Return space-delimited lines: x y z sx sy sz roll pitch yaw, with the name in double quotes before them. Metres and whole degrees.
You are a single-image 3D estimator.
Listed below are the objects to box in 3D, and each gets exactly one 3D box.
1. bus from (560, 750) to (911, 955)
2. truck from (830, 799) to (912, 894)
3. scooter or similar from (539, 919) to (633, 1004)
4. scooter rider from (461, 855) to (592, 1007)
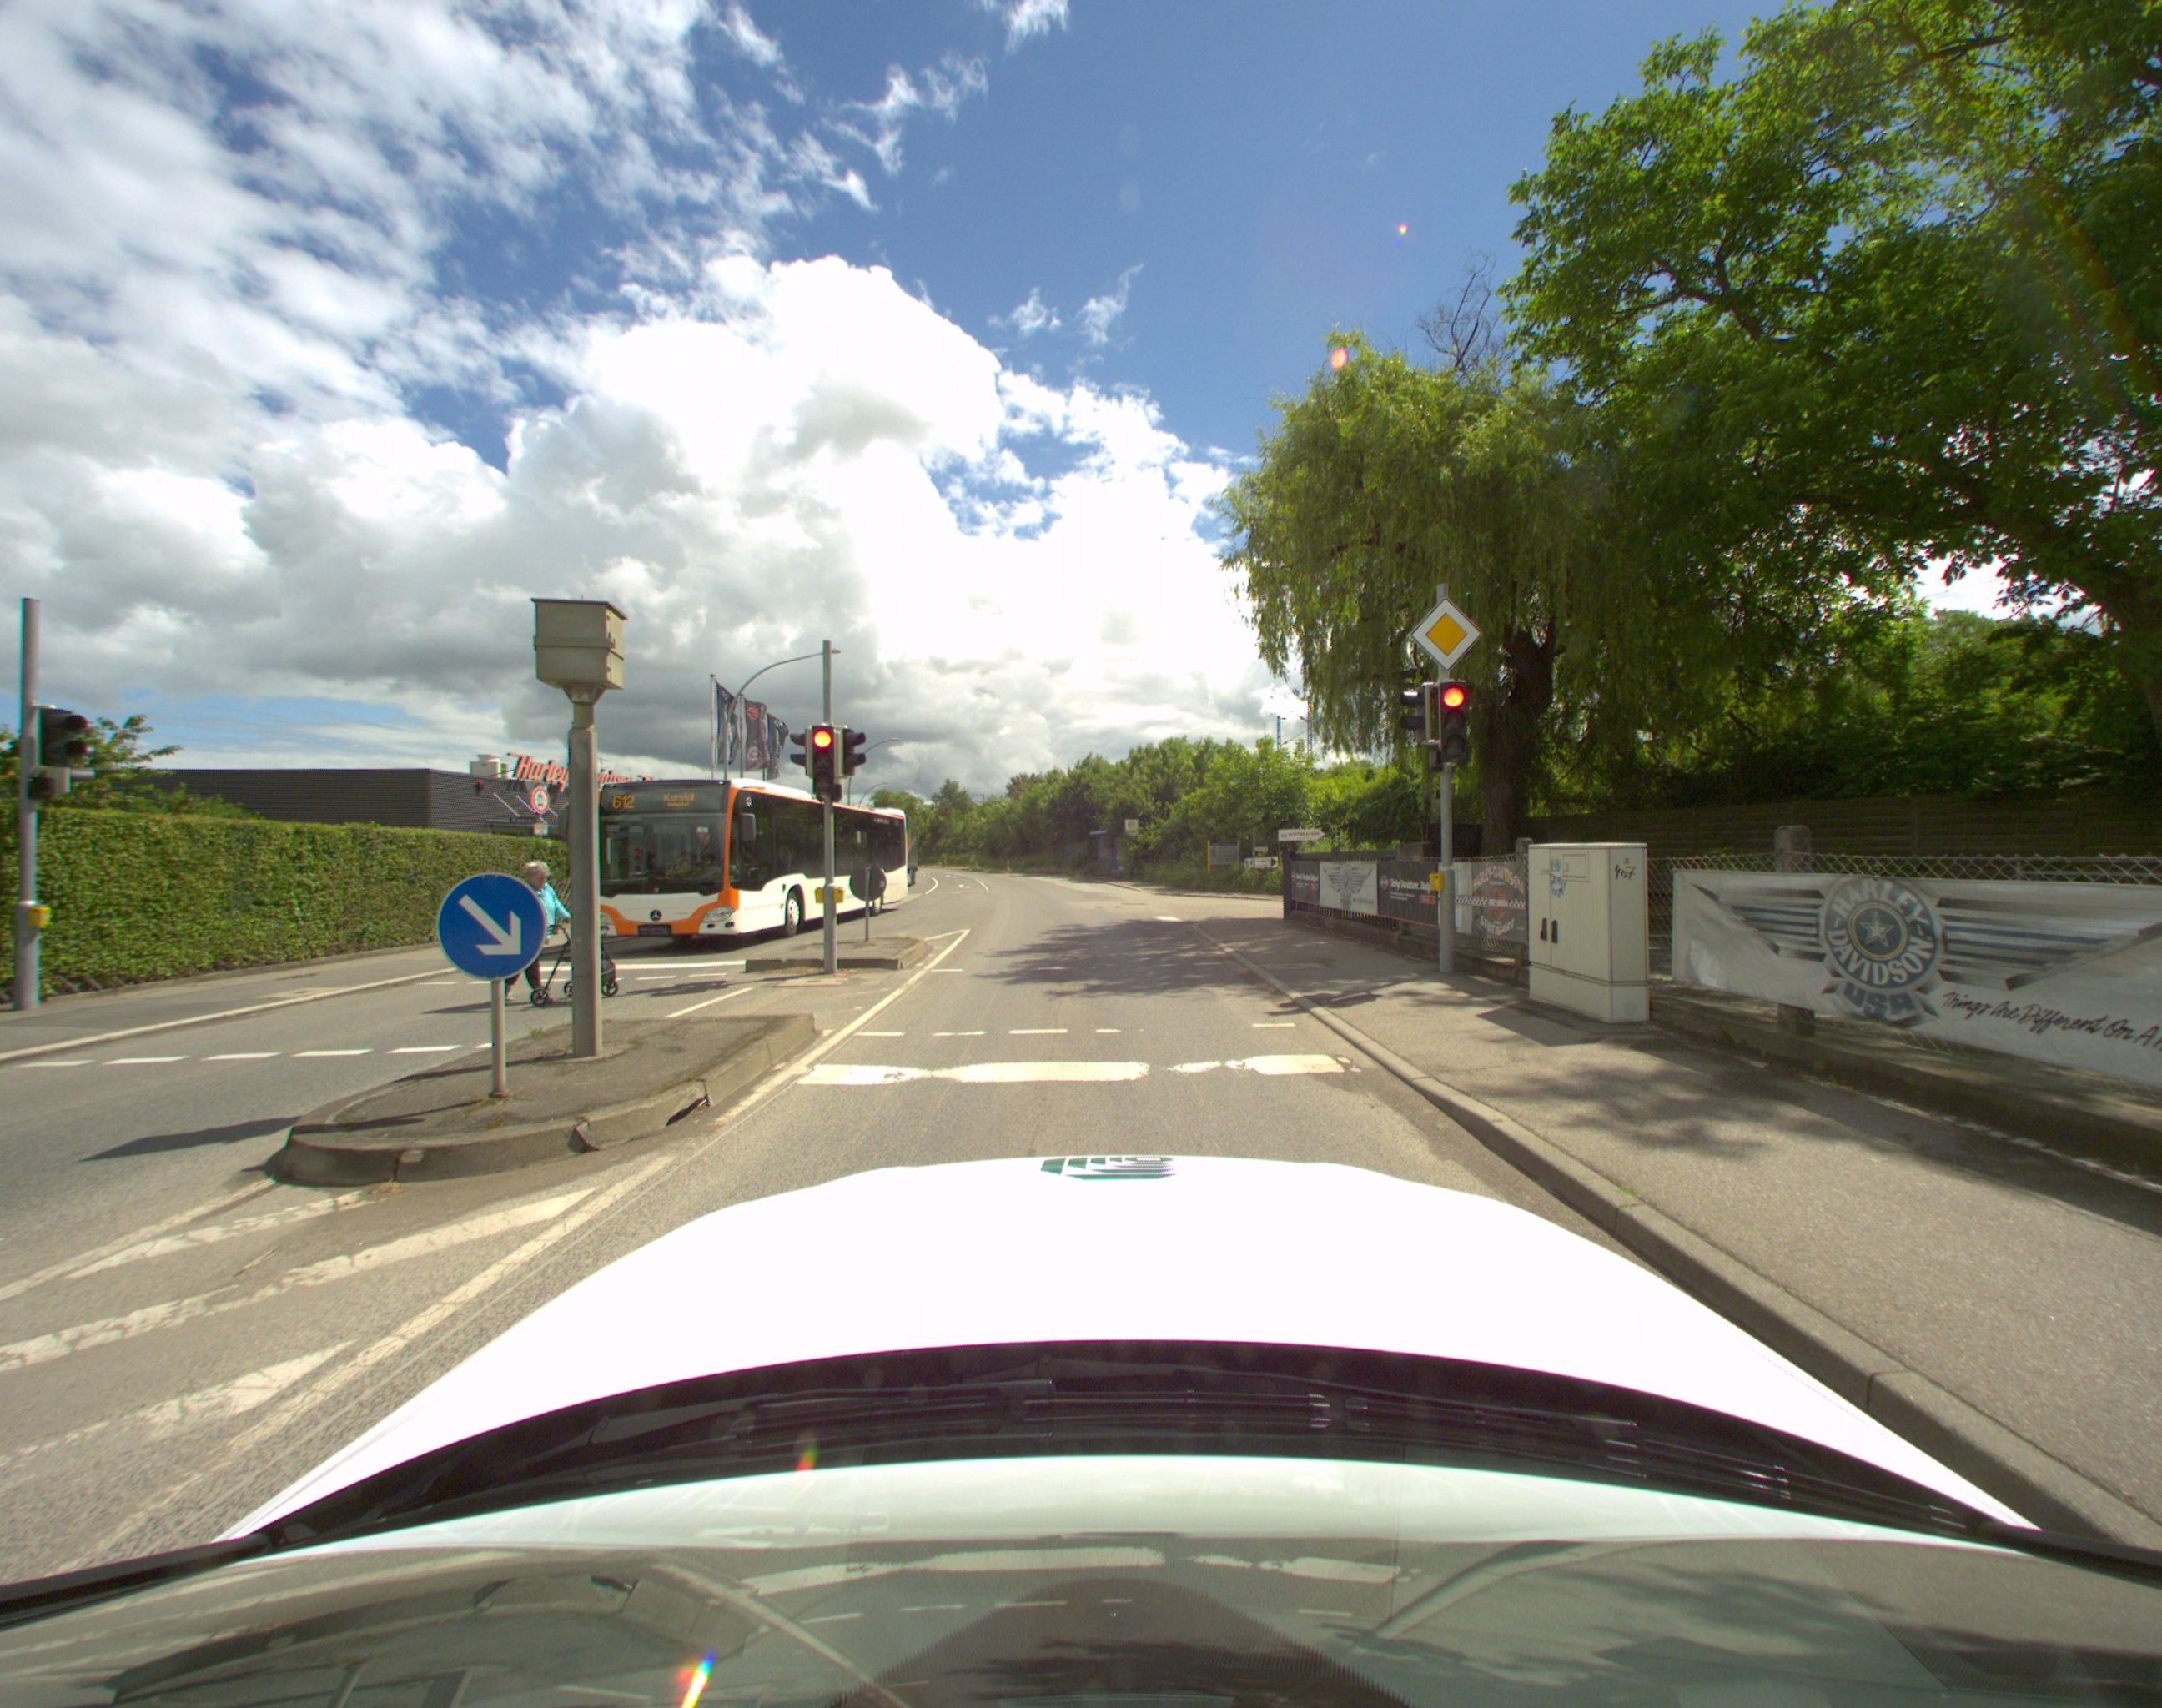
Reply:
"bus" -6.926 0.007 19.374 2.767 3.266 12.127 -2 0 2
"truck" -10.223 -0.289 40.586 2.425 4.131 9.132 1 -1 -6
"scooter or similar" -5.446 1.167 8.988 0.609 0.831 0.659 -1 0 0
"scooter rider" -6.099 0.816 9.003 0.875 1.589 0.796 -1 0 0
